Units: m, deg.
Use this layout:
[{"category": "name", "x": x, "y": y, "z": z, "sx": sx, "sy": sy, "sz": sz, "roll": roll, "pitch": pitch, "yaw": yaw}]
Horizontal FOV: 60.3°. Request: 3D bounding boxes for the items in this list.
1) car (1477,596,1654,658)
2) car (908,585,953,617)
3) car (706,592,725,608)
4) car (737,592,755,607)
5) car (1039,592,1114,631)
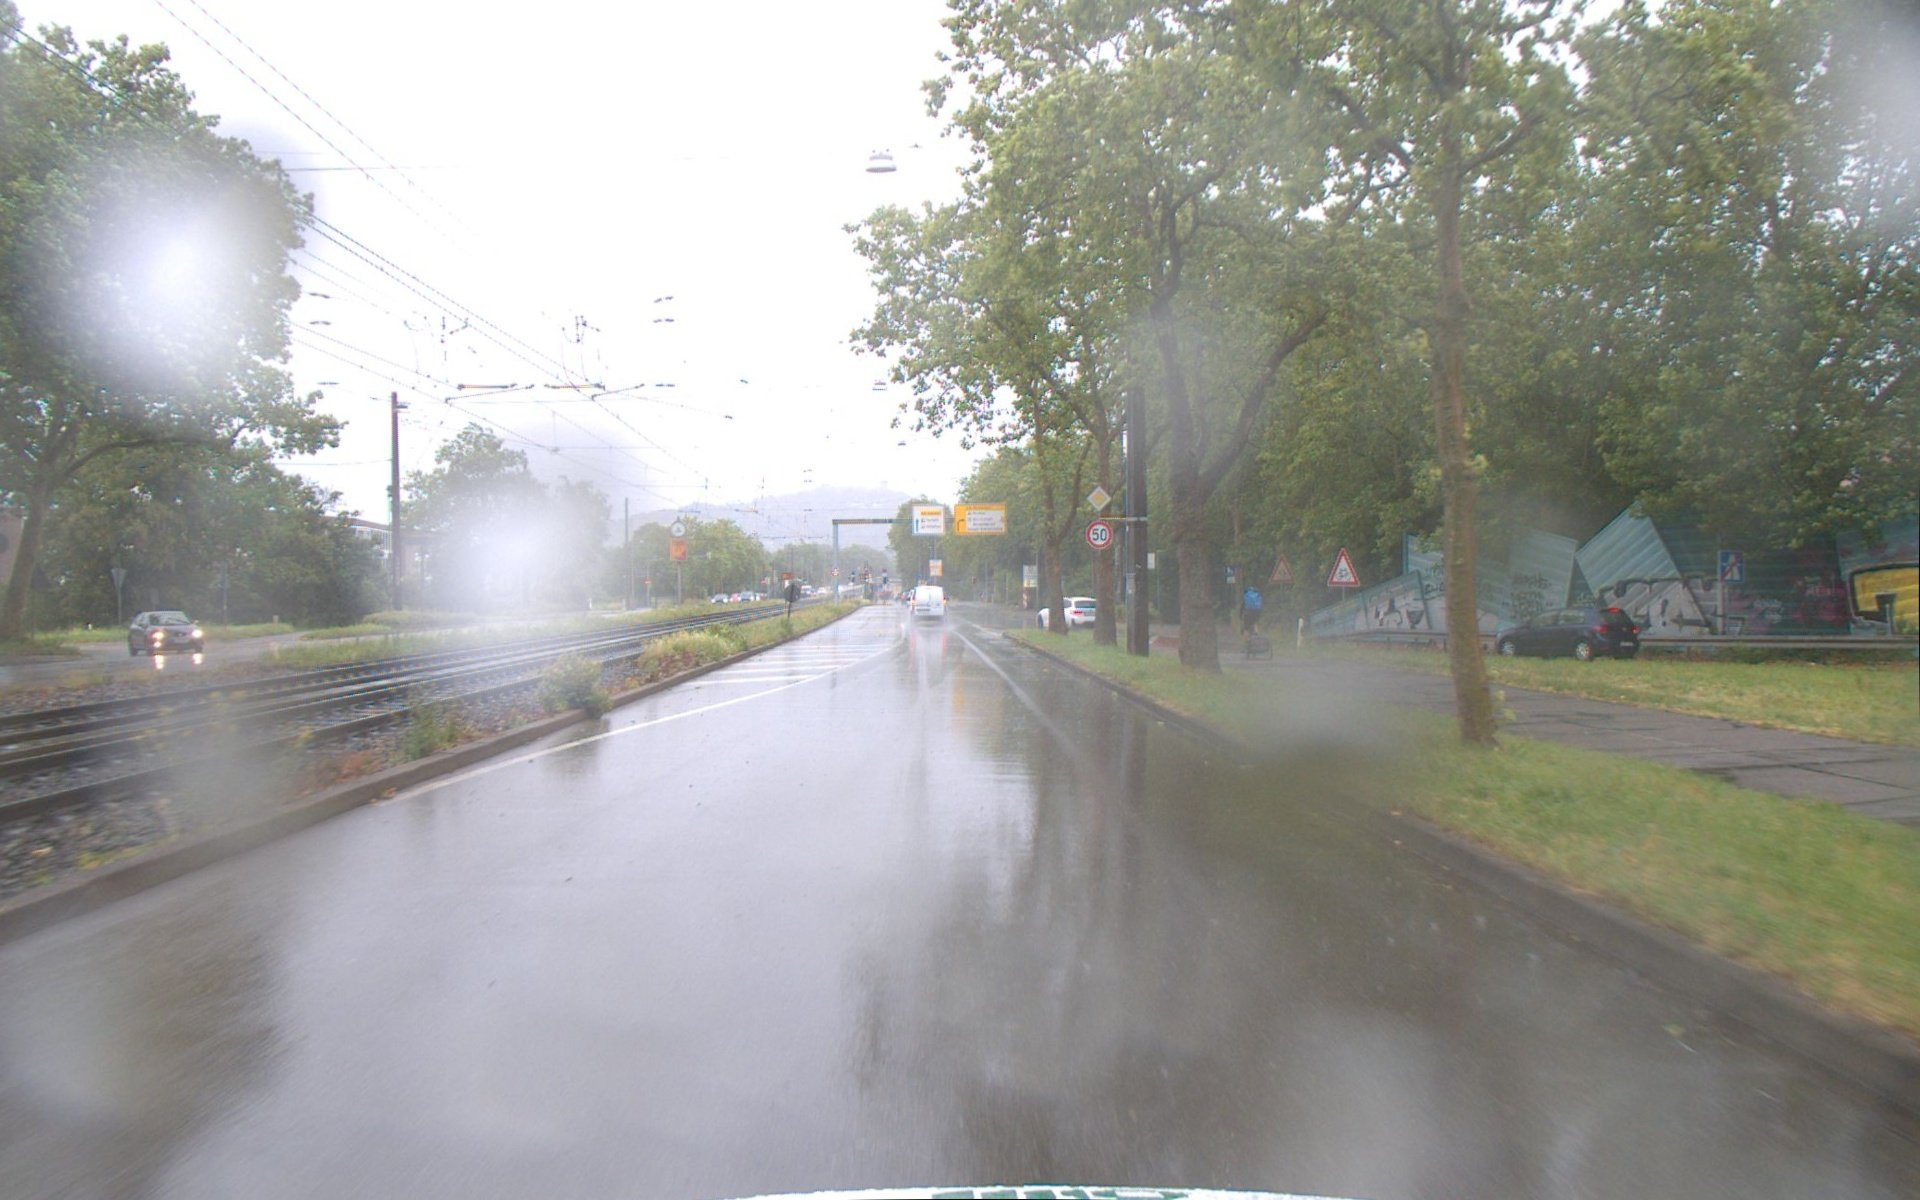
[{"category": "car", "x": 16.381, "y": 0.691, "z": 44.963, "sx": 1.842, "sy": 1.563, "sz": 4.475, "roll": 0, "pitch": 0, "yaw": -28}, {"category": "car", "x": -1.417, "y": 0.048, "z": 78.755, "sx": 2.036, "sy": 1.445, "sz": 3.998, "roll": -1, "pitch": 0, "yaw": -2}, {"category": "car", "x": -27.734, "y": -0.010, "z": 187.738, "sx": 1.905, "sy": 1.716, "sz": 4.775, "roll": -1, "pitch": 0, "yaw": -5}, {"category": "car", "x": -24.219, "y": -0.044, "z": 187.411, "sx": 1.906, "sy": 1.644, "sz": 4.982, "roll": -1, "pitch": 0, "yaw": -6}, {"category": "car", "x": 4.902, "y": 0.457, "z": 70.001, "sx": 1.915, "sy": 1.563, "sz": 4.450, "roll": 0, "pitch": 0, "yaw": -14}]
